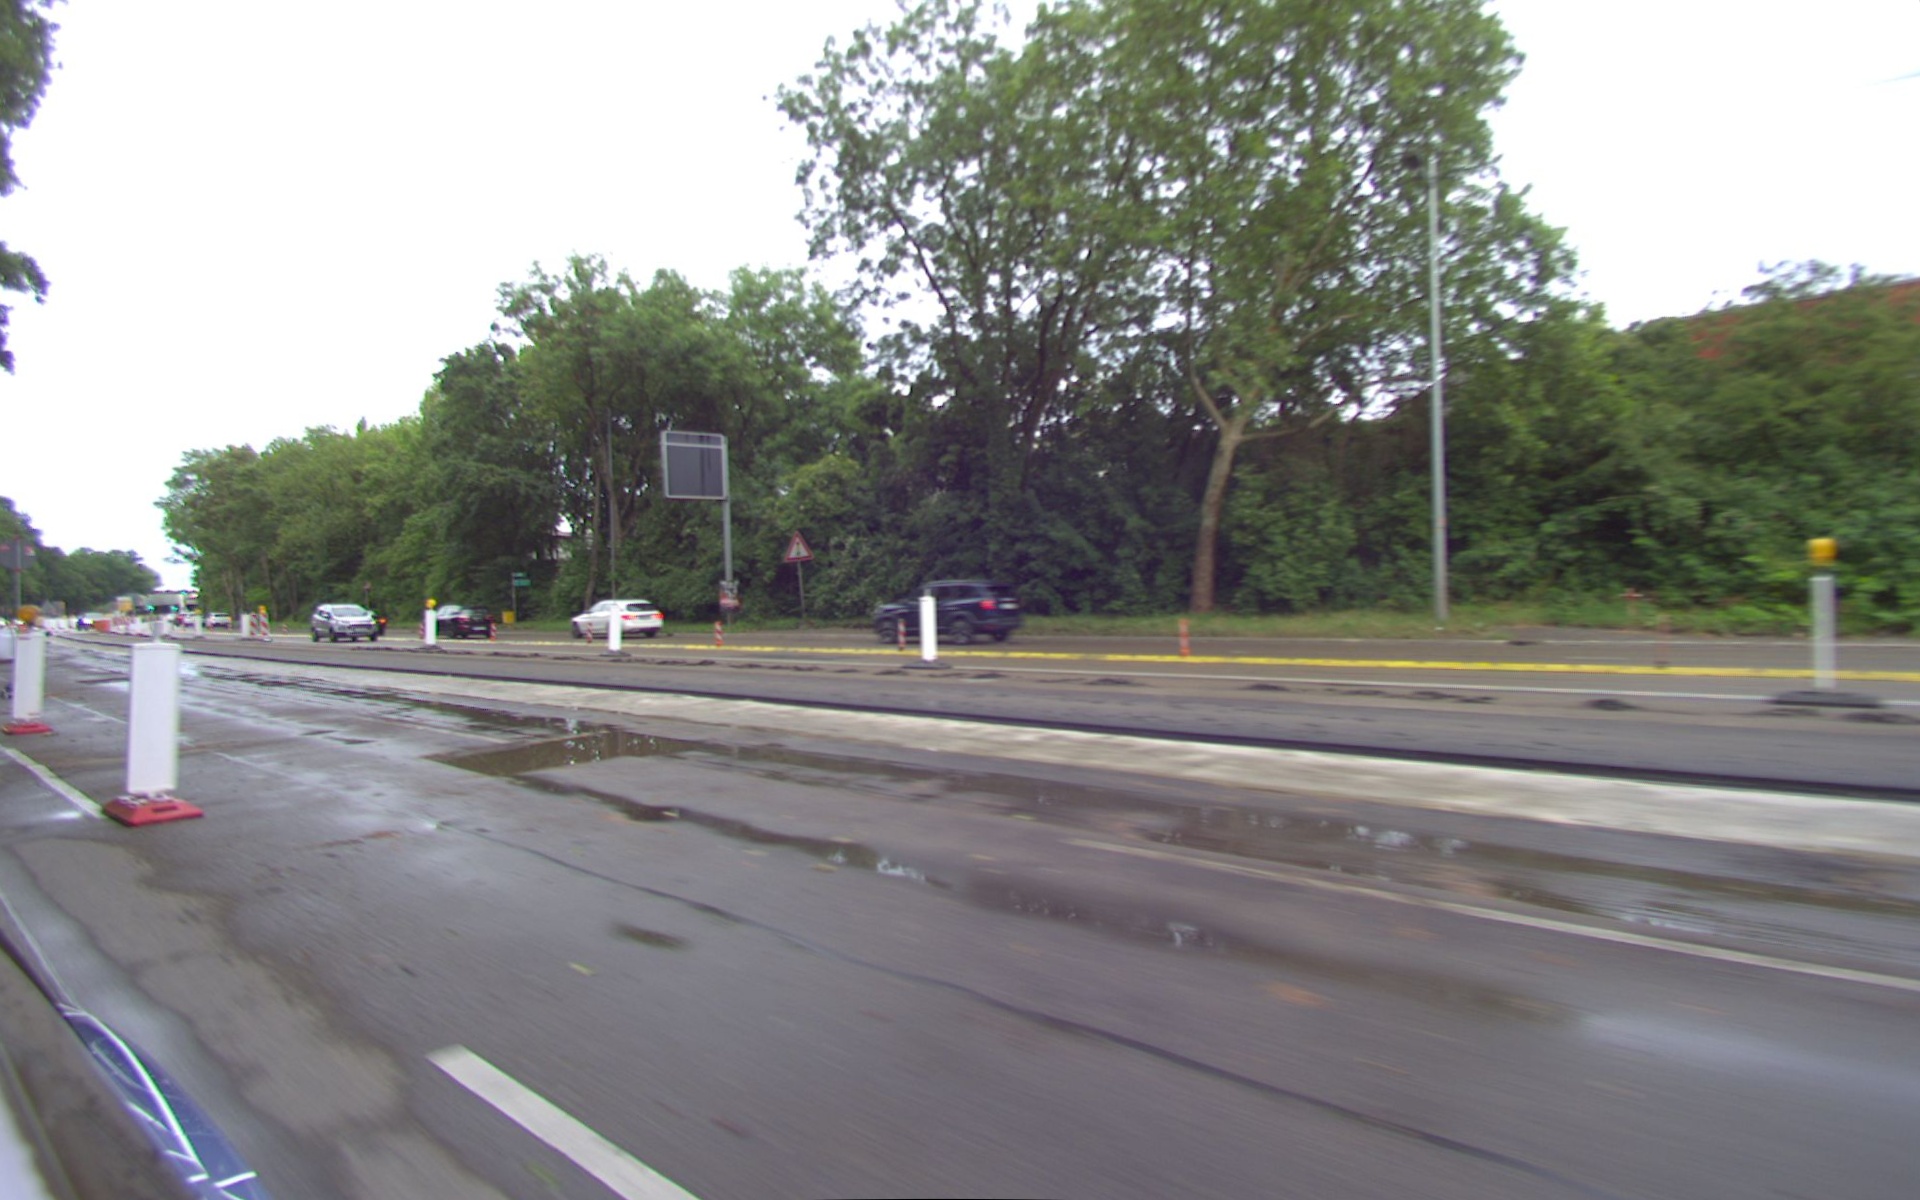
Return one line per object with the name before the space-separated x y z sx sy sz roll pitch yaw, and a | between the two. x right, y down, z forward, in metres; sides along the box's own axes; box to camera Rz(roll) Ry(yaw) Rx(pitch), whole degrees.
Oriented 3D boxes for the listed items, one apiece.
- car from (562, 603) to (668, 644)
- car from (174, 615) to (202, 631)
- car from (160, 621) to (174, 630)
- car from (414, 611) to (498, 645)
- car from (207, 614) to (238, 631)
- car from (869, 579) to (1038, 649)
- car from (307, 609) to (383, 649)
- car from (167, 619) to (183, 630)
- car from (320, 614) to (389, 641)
car | -13.384 0.897 39.111 4.600 1.430 1.799 -2 1 41
car | -87.227 2.608 114.379 4.379 1.764 1.758 -1 0 42
car | -132.643 4.181 169.342 1.761 1.437 4.479 -1 0 -37
car | -21.708 1.201 43.505 4.202 1.366 1.799 -2 -1 41
car | -69.258 2.132 95.013 4.158 1.553 1.648 -1 -2 43
car | -0.239 0.386 27.049 4.531 1.698 1.636 -2 1 41
car | -26.601 1.224 43.719 3.860 1.596 1.770 -1 1 43
car | -113.766 3.573 146.689 1.761 1.463 4.690 -1 0 -39
car | -31.456 1.422 52.538 4.388 1.366 1.799 -2 -1 41
